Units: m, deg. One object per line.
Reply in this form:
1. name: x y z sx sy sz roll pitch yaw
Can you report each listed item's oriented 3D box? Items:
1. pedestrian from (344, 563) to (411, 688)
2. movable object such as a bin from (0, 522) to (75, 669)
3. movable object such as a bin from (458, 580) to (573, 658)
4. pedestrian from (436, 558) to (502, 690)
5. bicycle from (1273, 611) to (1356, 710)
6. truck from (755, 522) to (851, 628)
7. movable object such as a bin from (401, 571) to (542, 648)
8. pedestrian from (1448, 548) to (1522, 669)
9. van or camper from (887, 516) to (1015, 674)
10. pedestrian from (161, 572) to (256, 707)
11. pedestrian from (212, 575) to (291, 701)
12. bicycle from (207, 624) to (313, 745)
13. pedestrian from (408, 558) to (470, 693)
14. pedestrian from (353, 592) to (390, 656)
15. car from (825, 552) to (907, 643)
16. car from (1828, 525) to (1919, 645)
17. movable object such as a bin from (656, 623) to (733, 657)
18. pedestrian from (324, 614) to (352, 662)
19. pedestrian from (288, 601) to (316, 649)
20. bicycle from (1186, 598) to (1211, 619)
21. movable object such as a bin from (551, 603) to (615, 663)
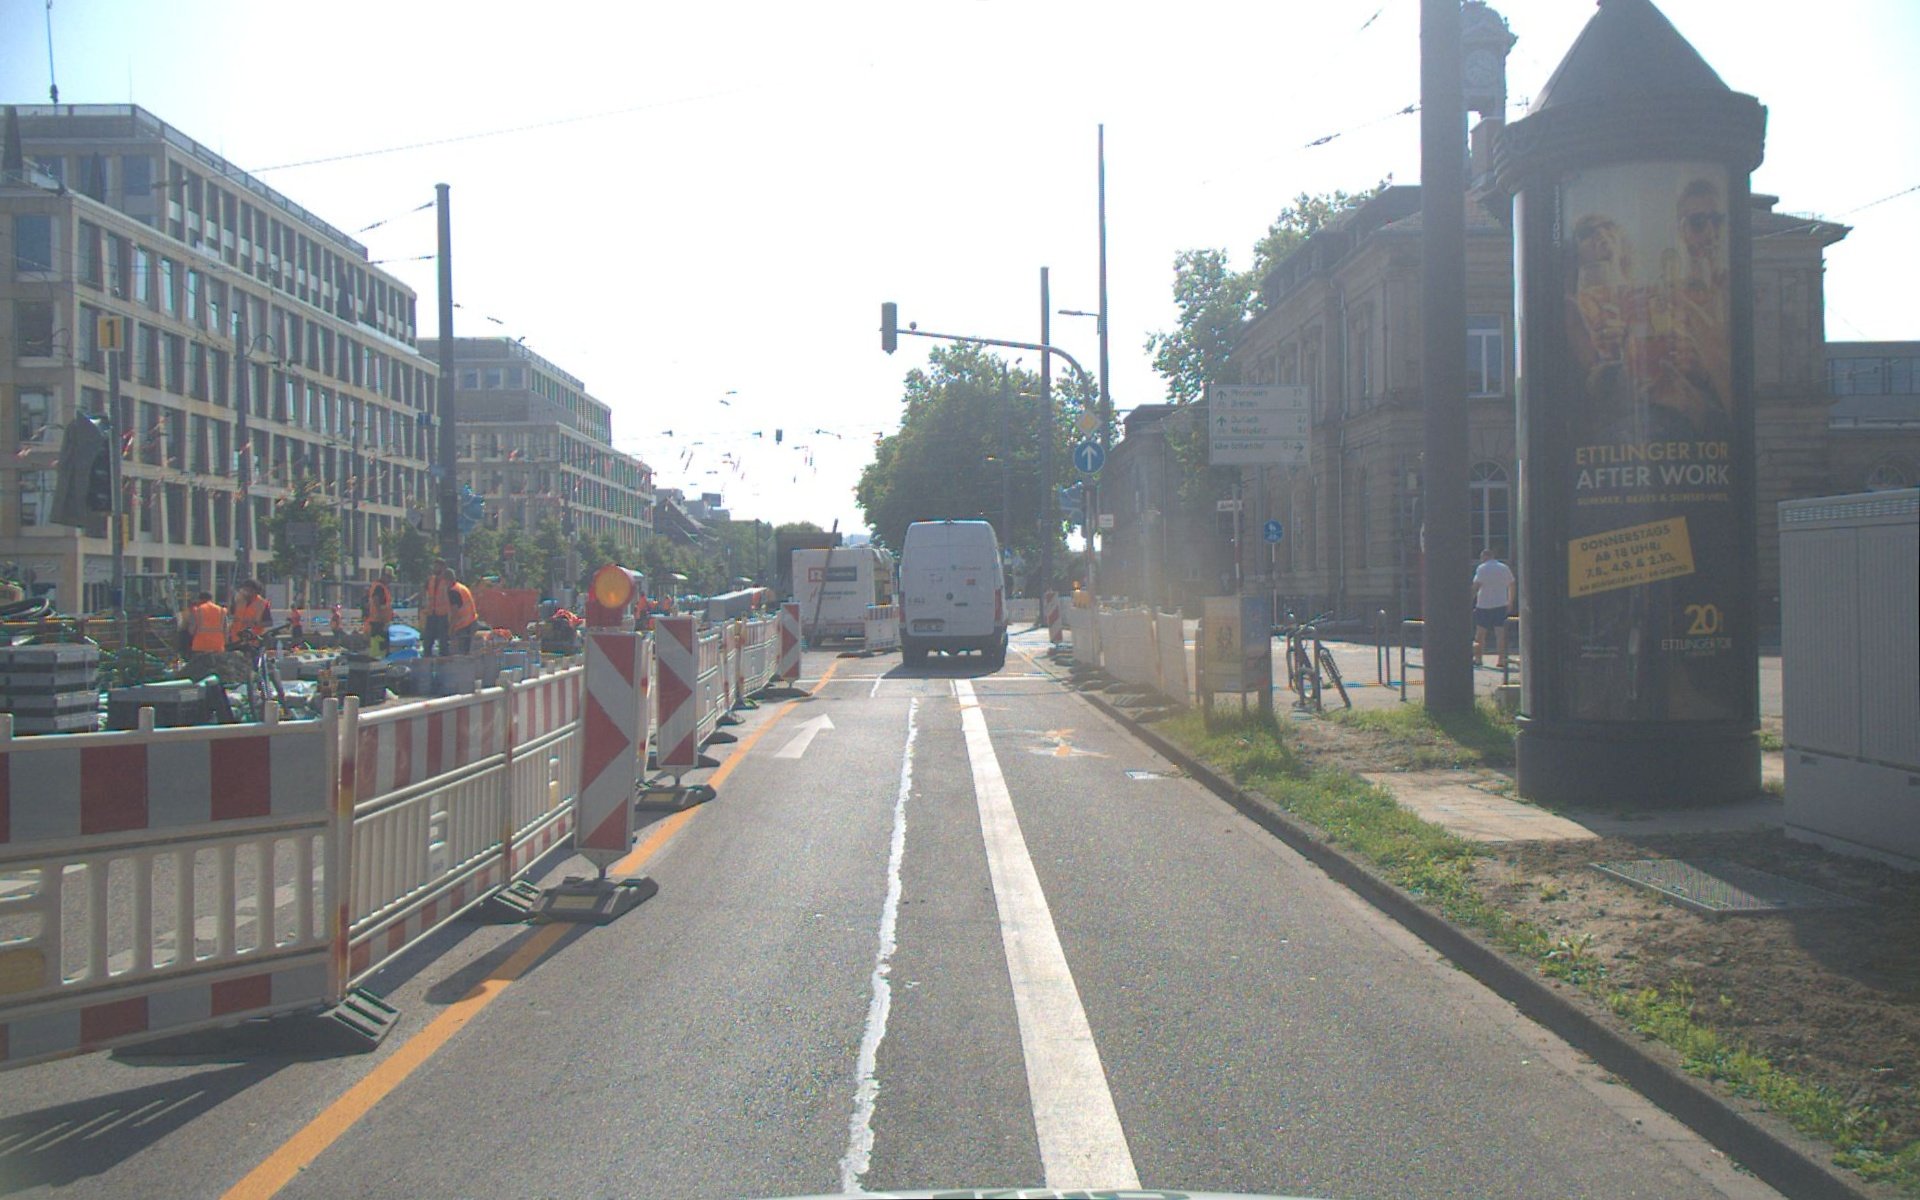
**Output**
1. pedestrian: -9.080 0.386 25.799 0.704 1.903 0.709 -2 0 7
2. movable object such as a bin: -32.377 -0.030 51.252 7.200 4.423 4.973 -2 -1 12
3. movable object such as a bin: -9.604 0.386 35.961 1.567 1.586 3.286 -1 0 0
4. pedestrian: -7.437 0.359 25.048 0.707 1.960 0.675 -1 0 -38
5. bicycle: 3.931 0.655 18.417 0.527 1.024 1.571 -2 0 -1
6. truck: -6.433 -0.993 66.587 2.744 3.981 8.389 0 0 -13
7. movable object such as a bin: -20.331 0.445 69.448 3.540 3.010 8.473 0 -1 -1
8. pedestrian: 7.869 0.121 24.826 0.849 1.767 0.671 -1 0 -2
9. van or camper: -0.081 -0.128 32.439 2.071 2.728 5.253 -3 1 3
10. pedestrian: -10.591 0.547 23.328 0.810 1.848 0.885 -2 0 13
11. pedestrian: -10.597 0.560 24.737 0.741 1.841 0.825 -2 0 44
12. bicycle: -6.876 0.801 16.326 0.552 1.118 1.962 0 -1 -11
13. pedestrian: -8.135 0.392 25.815 0.690 2.050 0.665 -1 0 -38
14. pedestrian: -18.126 0.727 50.944 0.769 1.946 0.723 -1 0 7
15. car: -2.733 -0.065 49.695 2.163 2.466 7.197 -1 0 -1
16. car: 15.442 -0.269 25.422 1.865 1.814 4.224 -2 0 -1
17. movable object such as a bin: -6.103 0.922 37.983 1.687 0.726 0.716 -2 0 32
18. pedestrian: -24.633 1.497 65.543 0.907 1.897 0.808 -1 0 -12
19. pedestrian: -26.433 1.014 66.463 0.737 1.897 0.810 -1 0 2
20. bicycle: 12.404 0.437 85.979 0.484 1.017 1.807 -1 2 -20
21. movable object such as a bin: -8.259 0.706 36.329 0.868 1.232 2.212 -1 0 0
